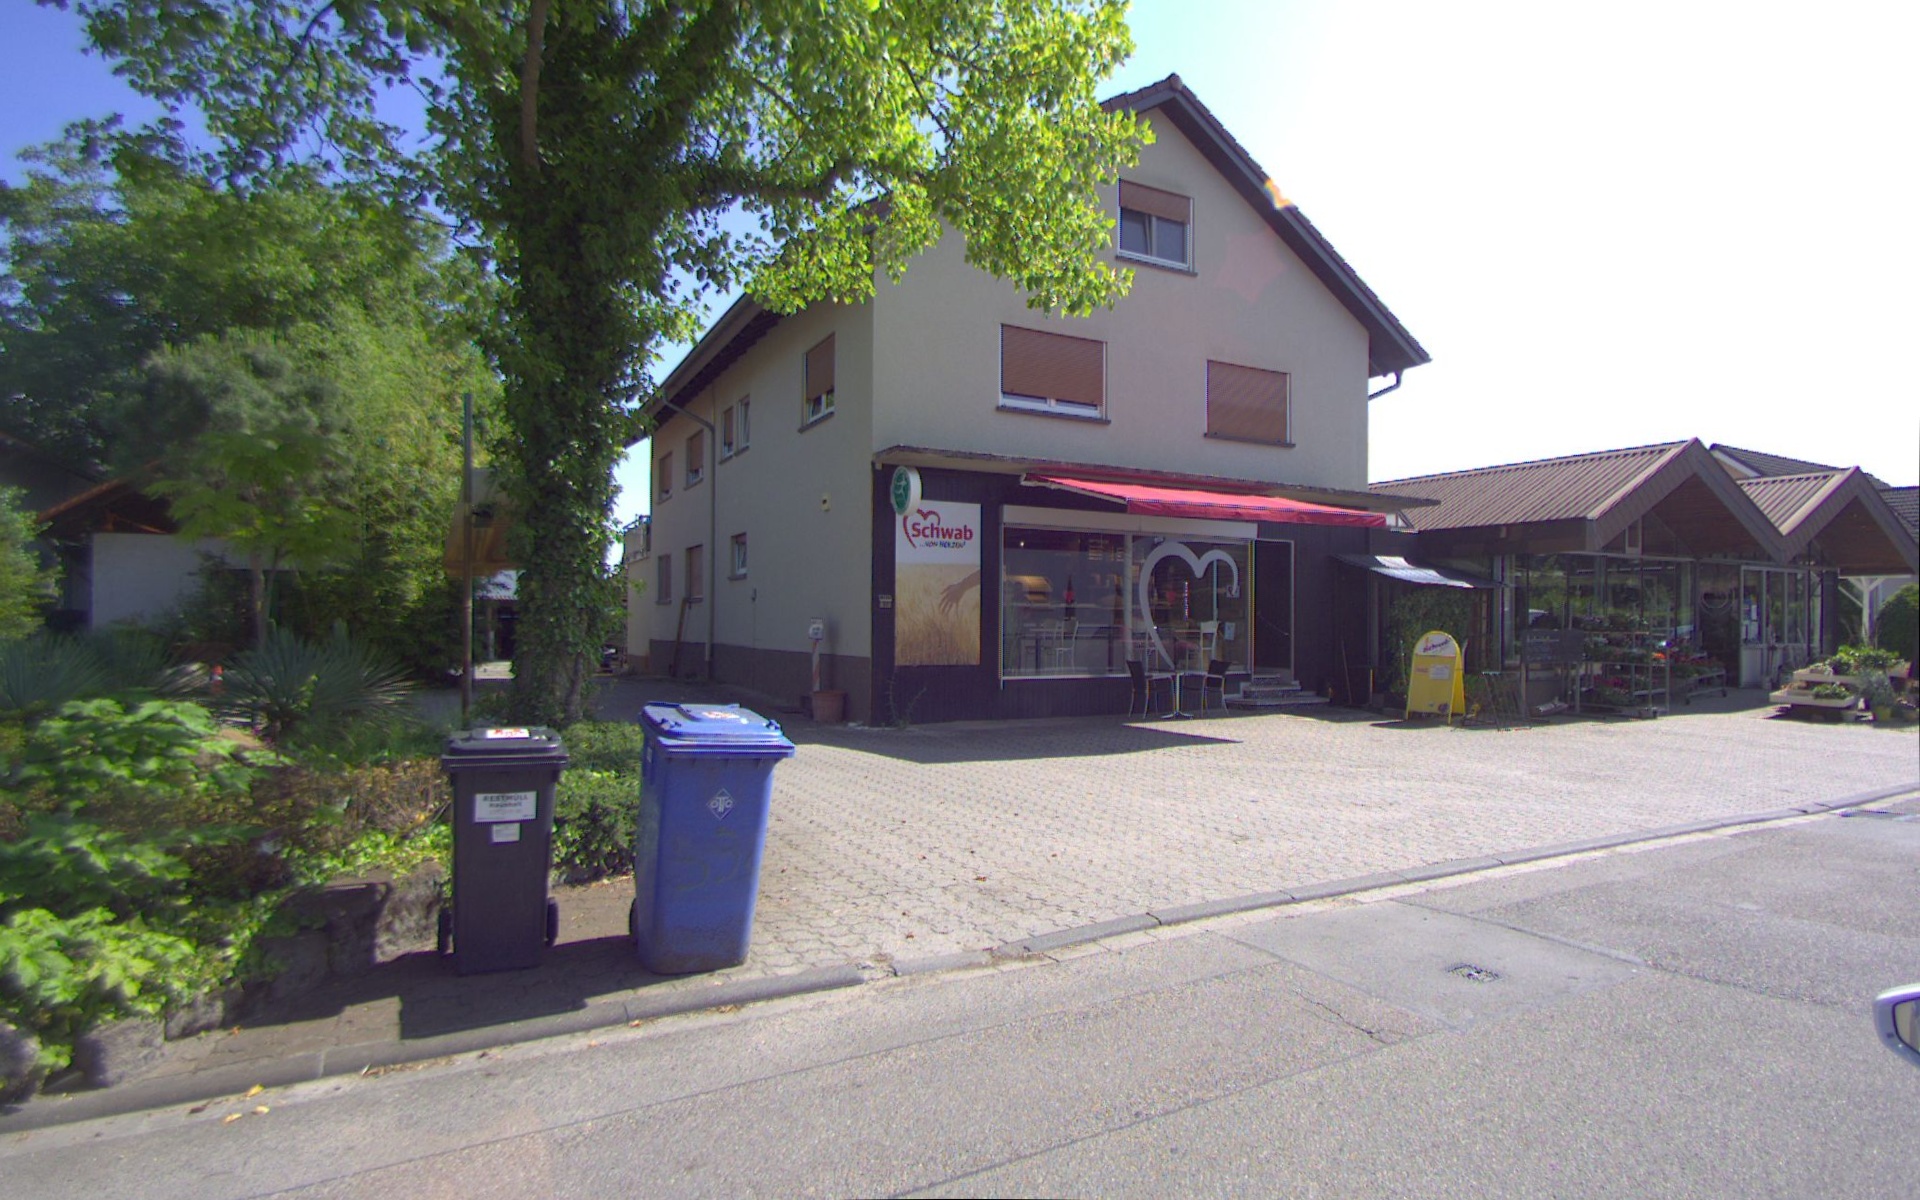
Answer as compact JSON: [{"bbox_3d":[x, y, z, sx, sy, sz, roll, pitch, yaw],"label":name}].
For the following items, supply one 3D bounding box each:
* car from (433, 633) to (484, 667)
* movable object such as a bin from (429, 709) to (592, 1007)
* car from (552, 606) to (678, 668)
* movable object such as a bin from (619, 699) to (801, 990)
[{"bbox_3d":[-22.459,2.198,45.090,1.877,1.461,3.976,1,-2,-25],"label":"car"},{"bbox_3d":[-1.869,1.010,4.154,0.561,1.038,0.580,1,0,-29],"label":"movable object such as a bin"},{"bbox_3d":[-14.253,1.501,41.564,4.595,2.441,2.178,1,-2,-30],"label":"car"},{"bbox_3d":[-1.125,1.015,4.455,0.605,1.068,0.728,1,0,-29],"label":"movable object such as a bin"}]
